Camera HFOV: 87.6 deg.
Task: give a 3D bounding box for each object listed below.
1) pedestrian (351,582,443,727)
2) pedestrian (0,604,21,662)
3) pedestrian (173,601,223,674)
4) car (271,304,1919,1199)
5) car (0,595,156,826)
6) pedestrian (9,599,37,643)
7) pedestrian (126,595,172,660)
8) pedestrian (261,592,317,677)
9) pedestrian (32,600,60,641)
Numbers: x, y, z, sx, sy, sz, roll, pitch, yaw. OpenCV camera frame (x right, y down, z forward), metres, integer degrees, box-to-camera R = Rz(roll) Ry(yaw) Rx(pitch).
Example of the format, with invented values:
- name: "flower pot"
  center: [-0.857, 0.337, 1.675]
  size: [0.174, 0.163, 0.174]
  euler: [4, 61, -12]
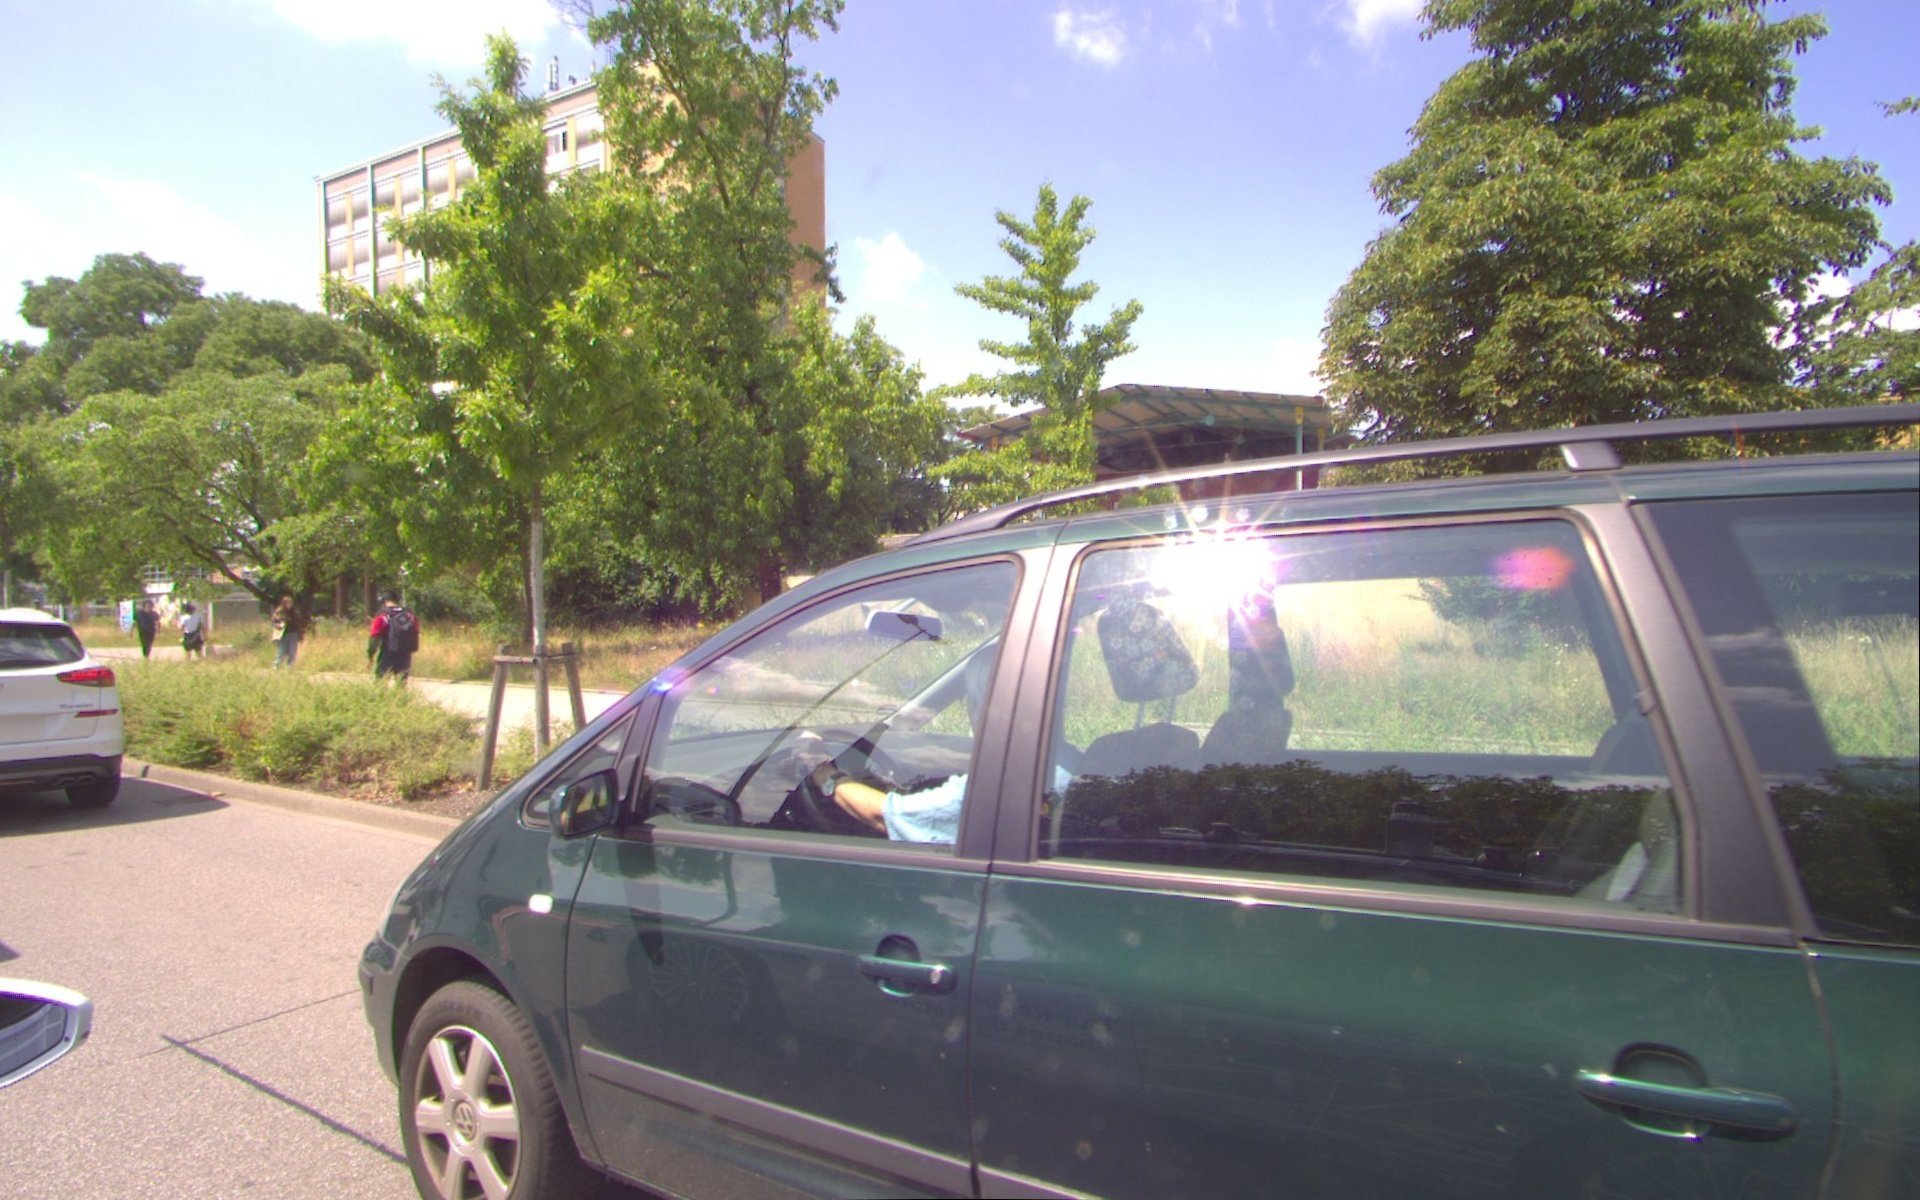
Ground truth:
- name: "pedestrian"
  center: [-7.174, 0.666, 12.767]
  size: [0.836, 1.774, 0.665]
  euler: [0, 2, 32]
- name: "pedestrian"
  center: [-29.978, 1.025, 31.327]
  size: [0.600, 1.770, 0.666]
  euler: [0, 2, 27]
- name: "pedestrian"
  center: [-17.229, 0.833, 22.648]
  size: [0.638, 1.618, 0.665]
  euler: [0, 2, 32]
- name: "car"
  center: [0.420, 0.625, 2.359]
  size: [4.385, 1.745, 1.791]
  euler: [0, -2, 33]
- name: "car"
  center: [-8.653, 0.807, 8.389]
  size: [4.174, 1.663, 1.876]
  euler: [0, 0, 34]
- name: "pedestrian"
  center: [-40.029, 0.879, 42.782]
  size: [0.602, 1.827, 0.746]
  euler: [1, 2, 39]
- name: "pedestrian"
  center: [-22.498, 0.753, 27.790]
  size: [0.657, 1.774, 0.748]
  euler: [0, 2, 29]
- name: "pedestrian"
  center: [-14.367, 0.714, 21.439]
  size: [0.865, 1.774, 0.665]
  euler: [0, 2, 32]
- name: "pedestrian"
  center: [-39.773, 0.892, 43.580]
  size: [0.602, 1.776, 0.746]
  euler: [1, 2, 39]
